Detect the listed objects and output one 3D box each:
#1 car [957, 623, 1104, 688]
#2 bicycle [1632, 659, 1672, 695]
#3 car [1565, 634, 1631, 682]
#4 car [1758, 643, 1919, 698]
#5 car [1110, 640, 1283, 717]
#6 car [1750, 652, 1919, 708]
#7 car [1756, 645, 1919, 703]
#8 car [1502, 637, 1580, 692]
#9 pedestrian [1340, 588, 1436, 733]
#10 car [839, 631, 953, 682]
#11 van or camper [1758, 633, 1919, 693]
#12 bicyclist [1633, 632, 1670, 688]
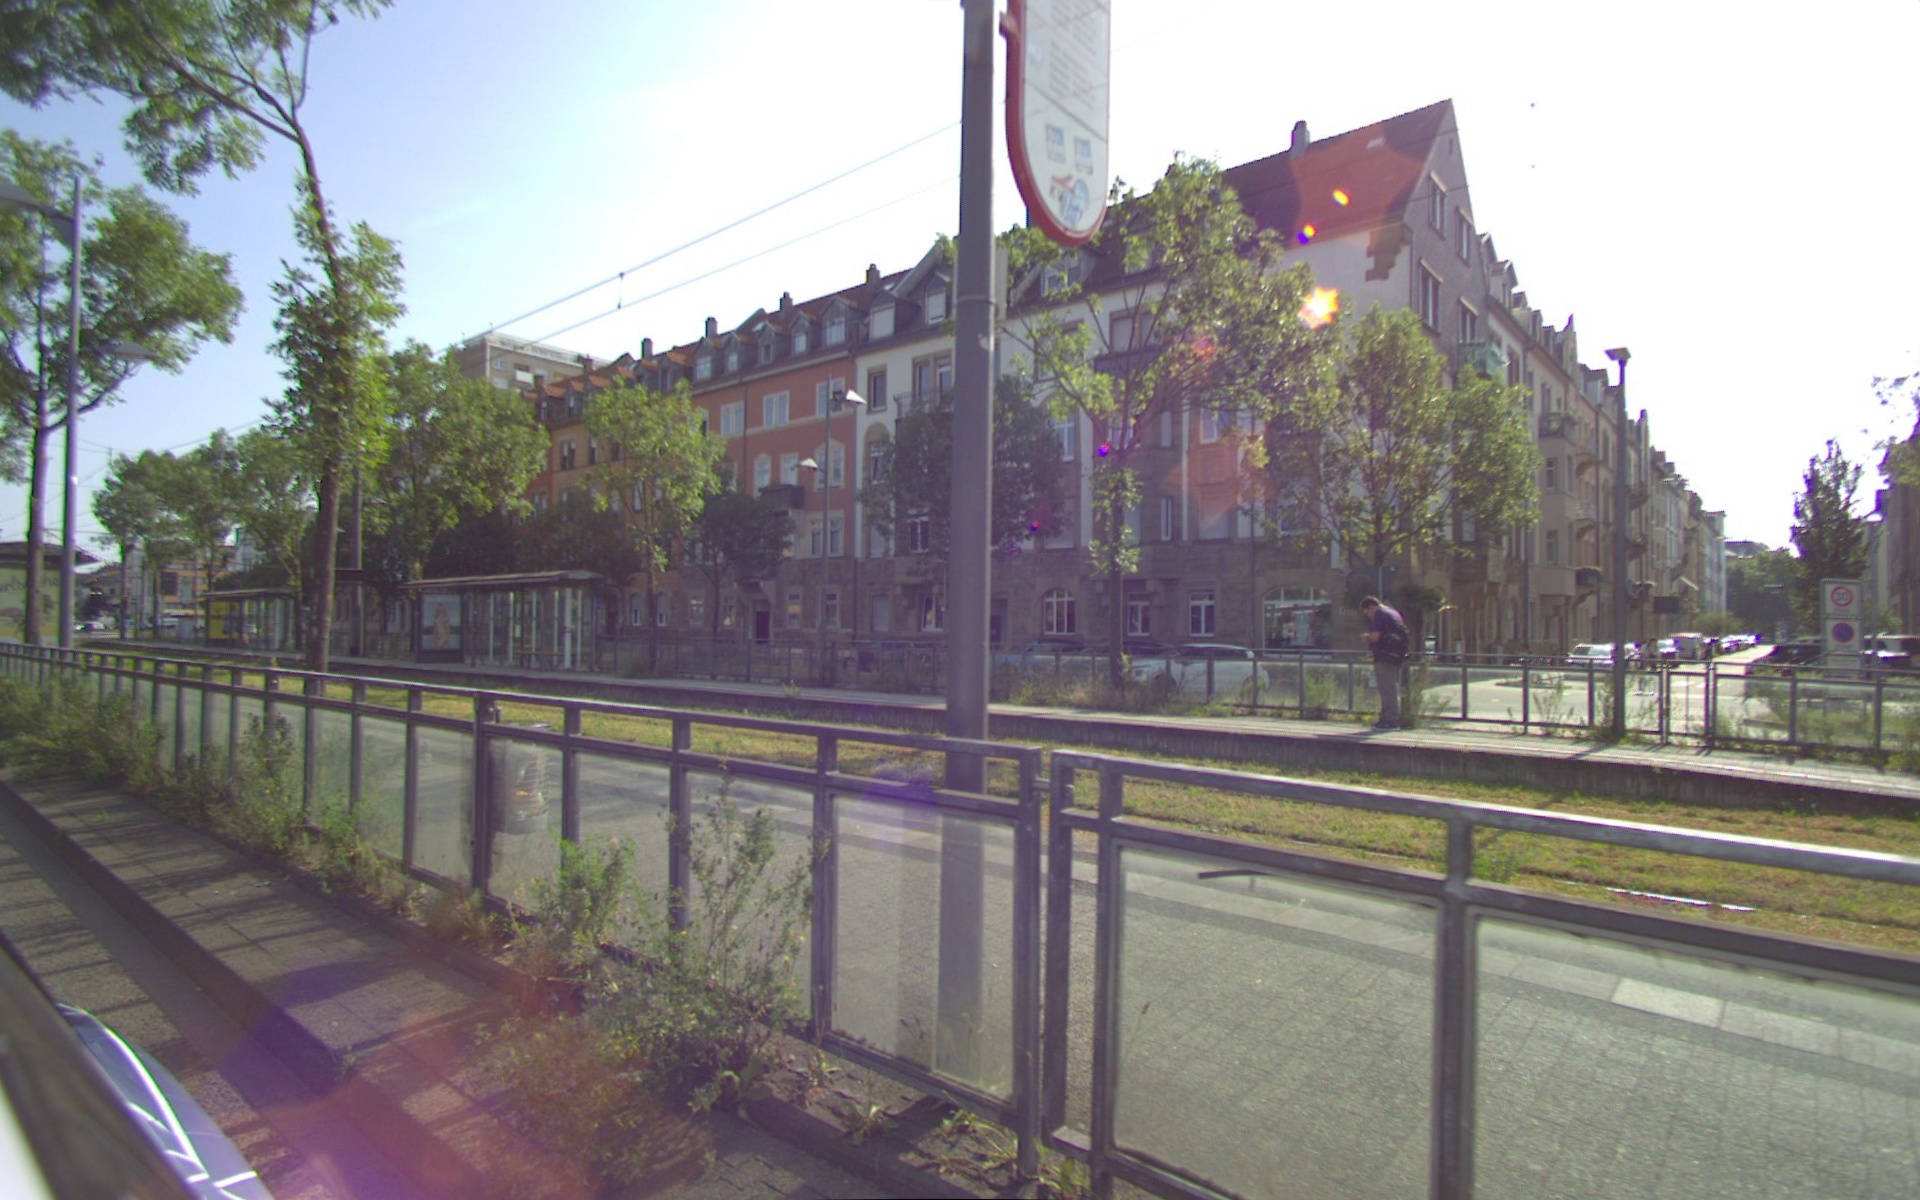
[{"bbox_3d":[2.094,1.631,30.503,3.932,1.739,2.006,-1,0,-15],"label":"car"},{"bbox_3d":[20.308,2.237,29.683,0.857,0.872,1.994,-1,0,37],"label":"bicycle"},{"bbox_3d":[26.603,2.365,42.154,1.727,1.707,3.945,-1,0,41],"label":"car"},{"bbox_3d":[26.952,2.116,30.908,3.998,1.526,1.650,-1,-3,41],"label":"car"},{"bbox_3d":[6.188,2.024,26.685,3.932,1.739,2.006,-1,0,-15],"label":"car"},{"bbox_3d":[23.410,2.083,26.682,3.998,1.309,1.650,-1,-3,41],"label":"car"},{"bbox_3d":[24.633,2.018,28.049,3.998,1.423,1.650,-1,-3,41],"label":"car"},{"bbox_3d":[20.066,2.166,34.865,1.604,1.595,3.774,-1,0,41],"label":"car"},{"bbox_3d":[5.209,0.712,12.299,0.852,1.667,0.874,-1,-2,41],"label":"pedestrian"},{"bbox_3d":[-2.362,2.017,36.829,3.998,1.632,1.883,-1,0,41],"label":"car"},{"bbox_3d":[31.825,2.195,36.199,1.746,1.936,5.089,2,-2,-17],"label":"van or camper"},{"bbox_3d":[20.224,1.743,29.609,0.848,1.570,0.891,-1,0,37],"label":"bicyclist"}]
